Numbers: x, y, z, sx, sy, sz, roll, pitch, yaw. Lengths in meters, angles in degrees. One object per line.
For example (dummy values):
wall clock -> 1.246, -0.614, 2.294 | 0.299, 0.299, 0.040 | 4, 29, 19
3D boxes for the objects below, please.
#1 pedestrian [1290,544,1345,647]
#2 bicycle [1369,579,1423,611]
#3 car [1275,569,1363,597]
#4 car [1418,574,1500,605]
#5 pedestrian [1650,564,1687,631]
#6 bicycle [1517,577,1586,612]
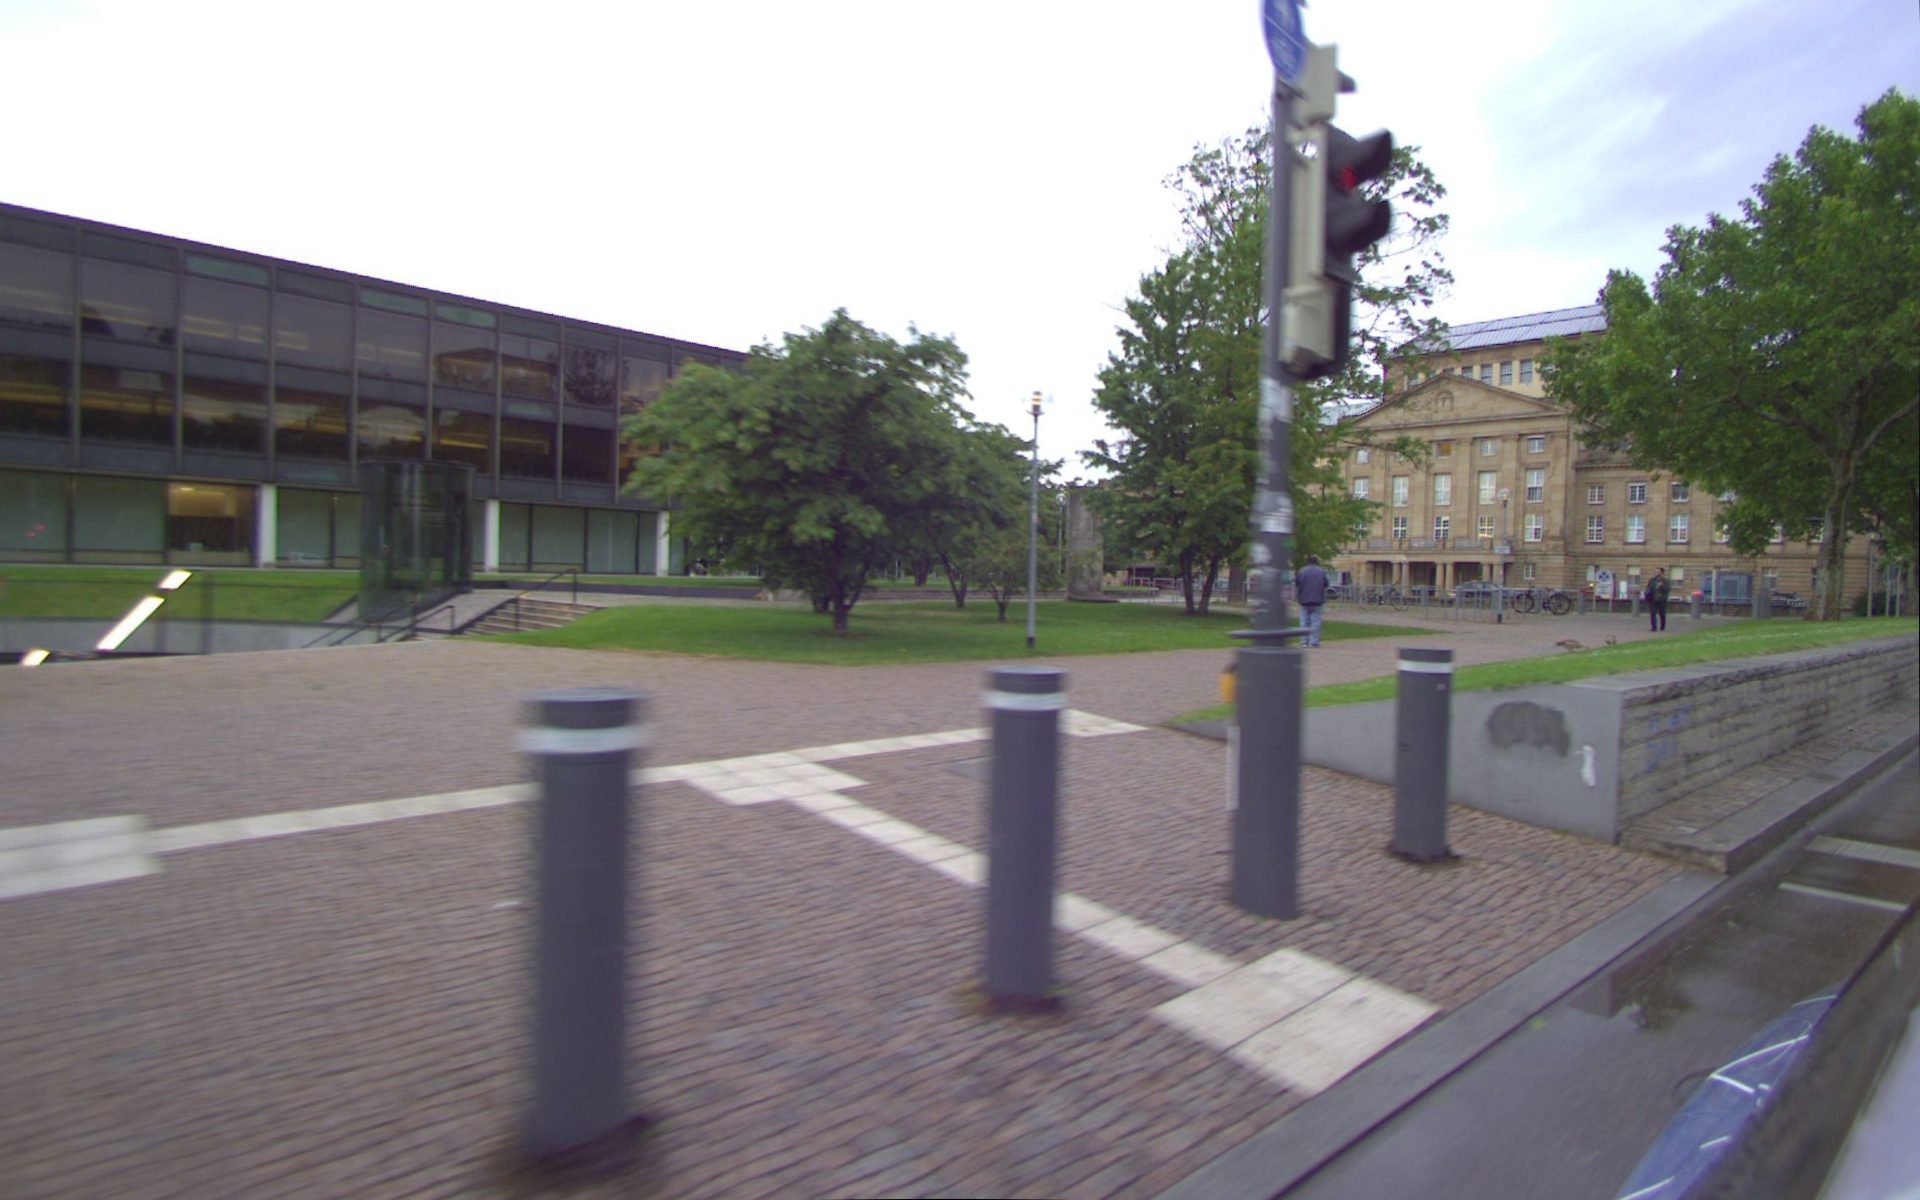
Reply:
pedestrian -> 6.350, -0.084, 17.991 | 0.595, 1.777, 0.714 | 4, 2, 44
bicycle -> 15.862, -0.190, 36.803 | 1.640, 1.099, 0.699 | 3, 1, 42
car -> 23.979, -1.147, 67.670 | 5.006, 1.785, 2.422 | 2, 2, 43
car -> 29.498, -0.647, 59.940 | 1.628, 1.619, 3.995 | 0, 3, -41
pedestrian -> 18.942, -0.059, 27.058 | 0.681, 1.740, 0.706 | 2, -2, -43
bicycle -> 21.162, -0.201, 36.230 | 2.029, 1.188, 0.947 | 3, 1, 37
